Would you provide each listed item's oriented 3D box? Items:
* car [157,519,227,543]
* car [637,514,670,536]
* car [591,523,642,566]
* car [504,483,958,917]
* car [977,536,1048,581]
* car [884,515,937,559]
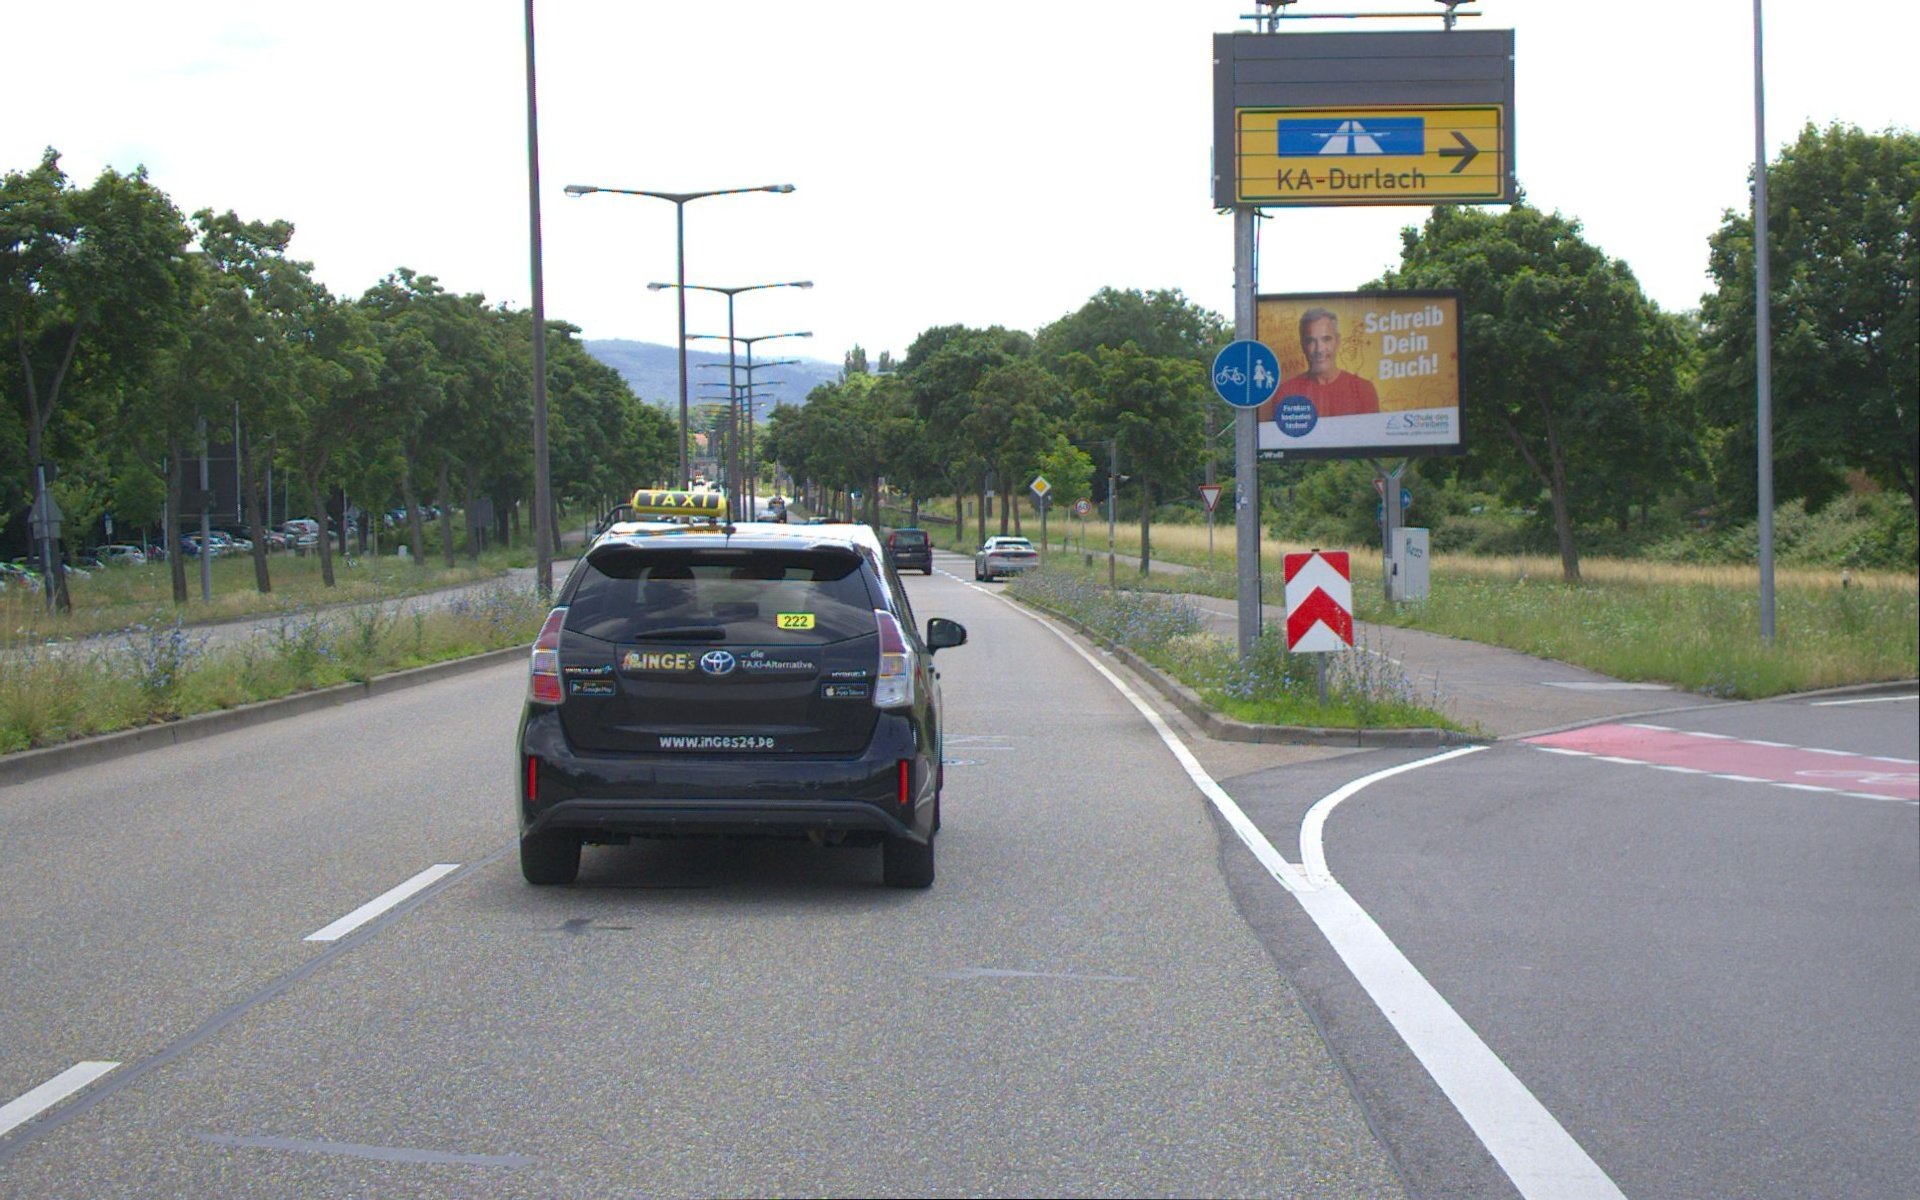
[{"bbox_3d":[-46.096,-4.159,206.297,3.785,1.383,1.786,1,2,1],"label":"car"},{"bbox_3d":[-20.026,-4.901,224.387,1.700,1.422,3.676,-1,1,-12],"label":"car"},{"bbox_3d":[-15.244,-2.455,152.727,1.876,1.784,4.729,-3,1,-2],"label":"car"},{"bbox_3d":[-1.009,0.332,15.606,1.779,1.678,4.001,1,2,-3],"label":"car"},{"bbox_3d":[1.891,-1.536,125.930,1.993,1.503,4.001,0,2,-8],"label":"car"},{"bbox_3d":[-2.000,-2.538,137.203,1.993,1.656,4.001,1,2,-3],"label":"car"}]
